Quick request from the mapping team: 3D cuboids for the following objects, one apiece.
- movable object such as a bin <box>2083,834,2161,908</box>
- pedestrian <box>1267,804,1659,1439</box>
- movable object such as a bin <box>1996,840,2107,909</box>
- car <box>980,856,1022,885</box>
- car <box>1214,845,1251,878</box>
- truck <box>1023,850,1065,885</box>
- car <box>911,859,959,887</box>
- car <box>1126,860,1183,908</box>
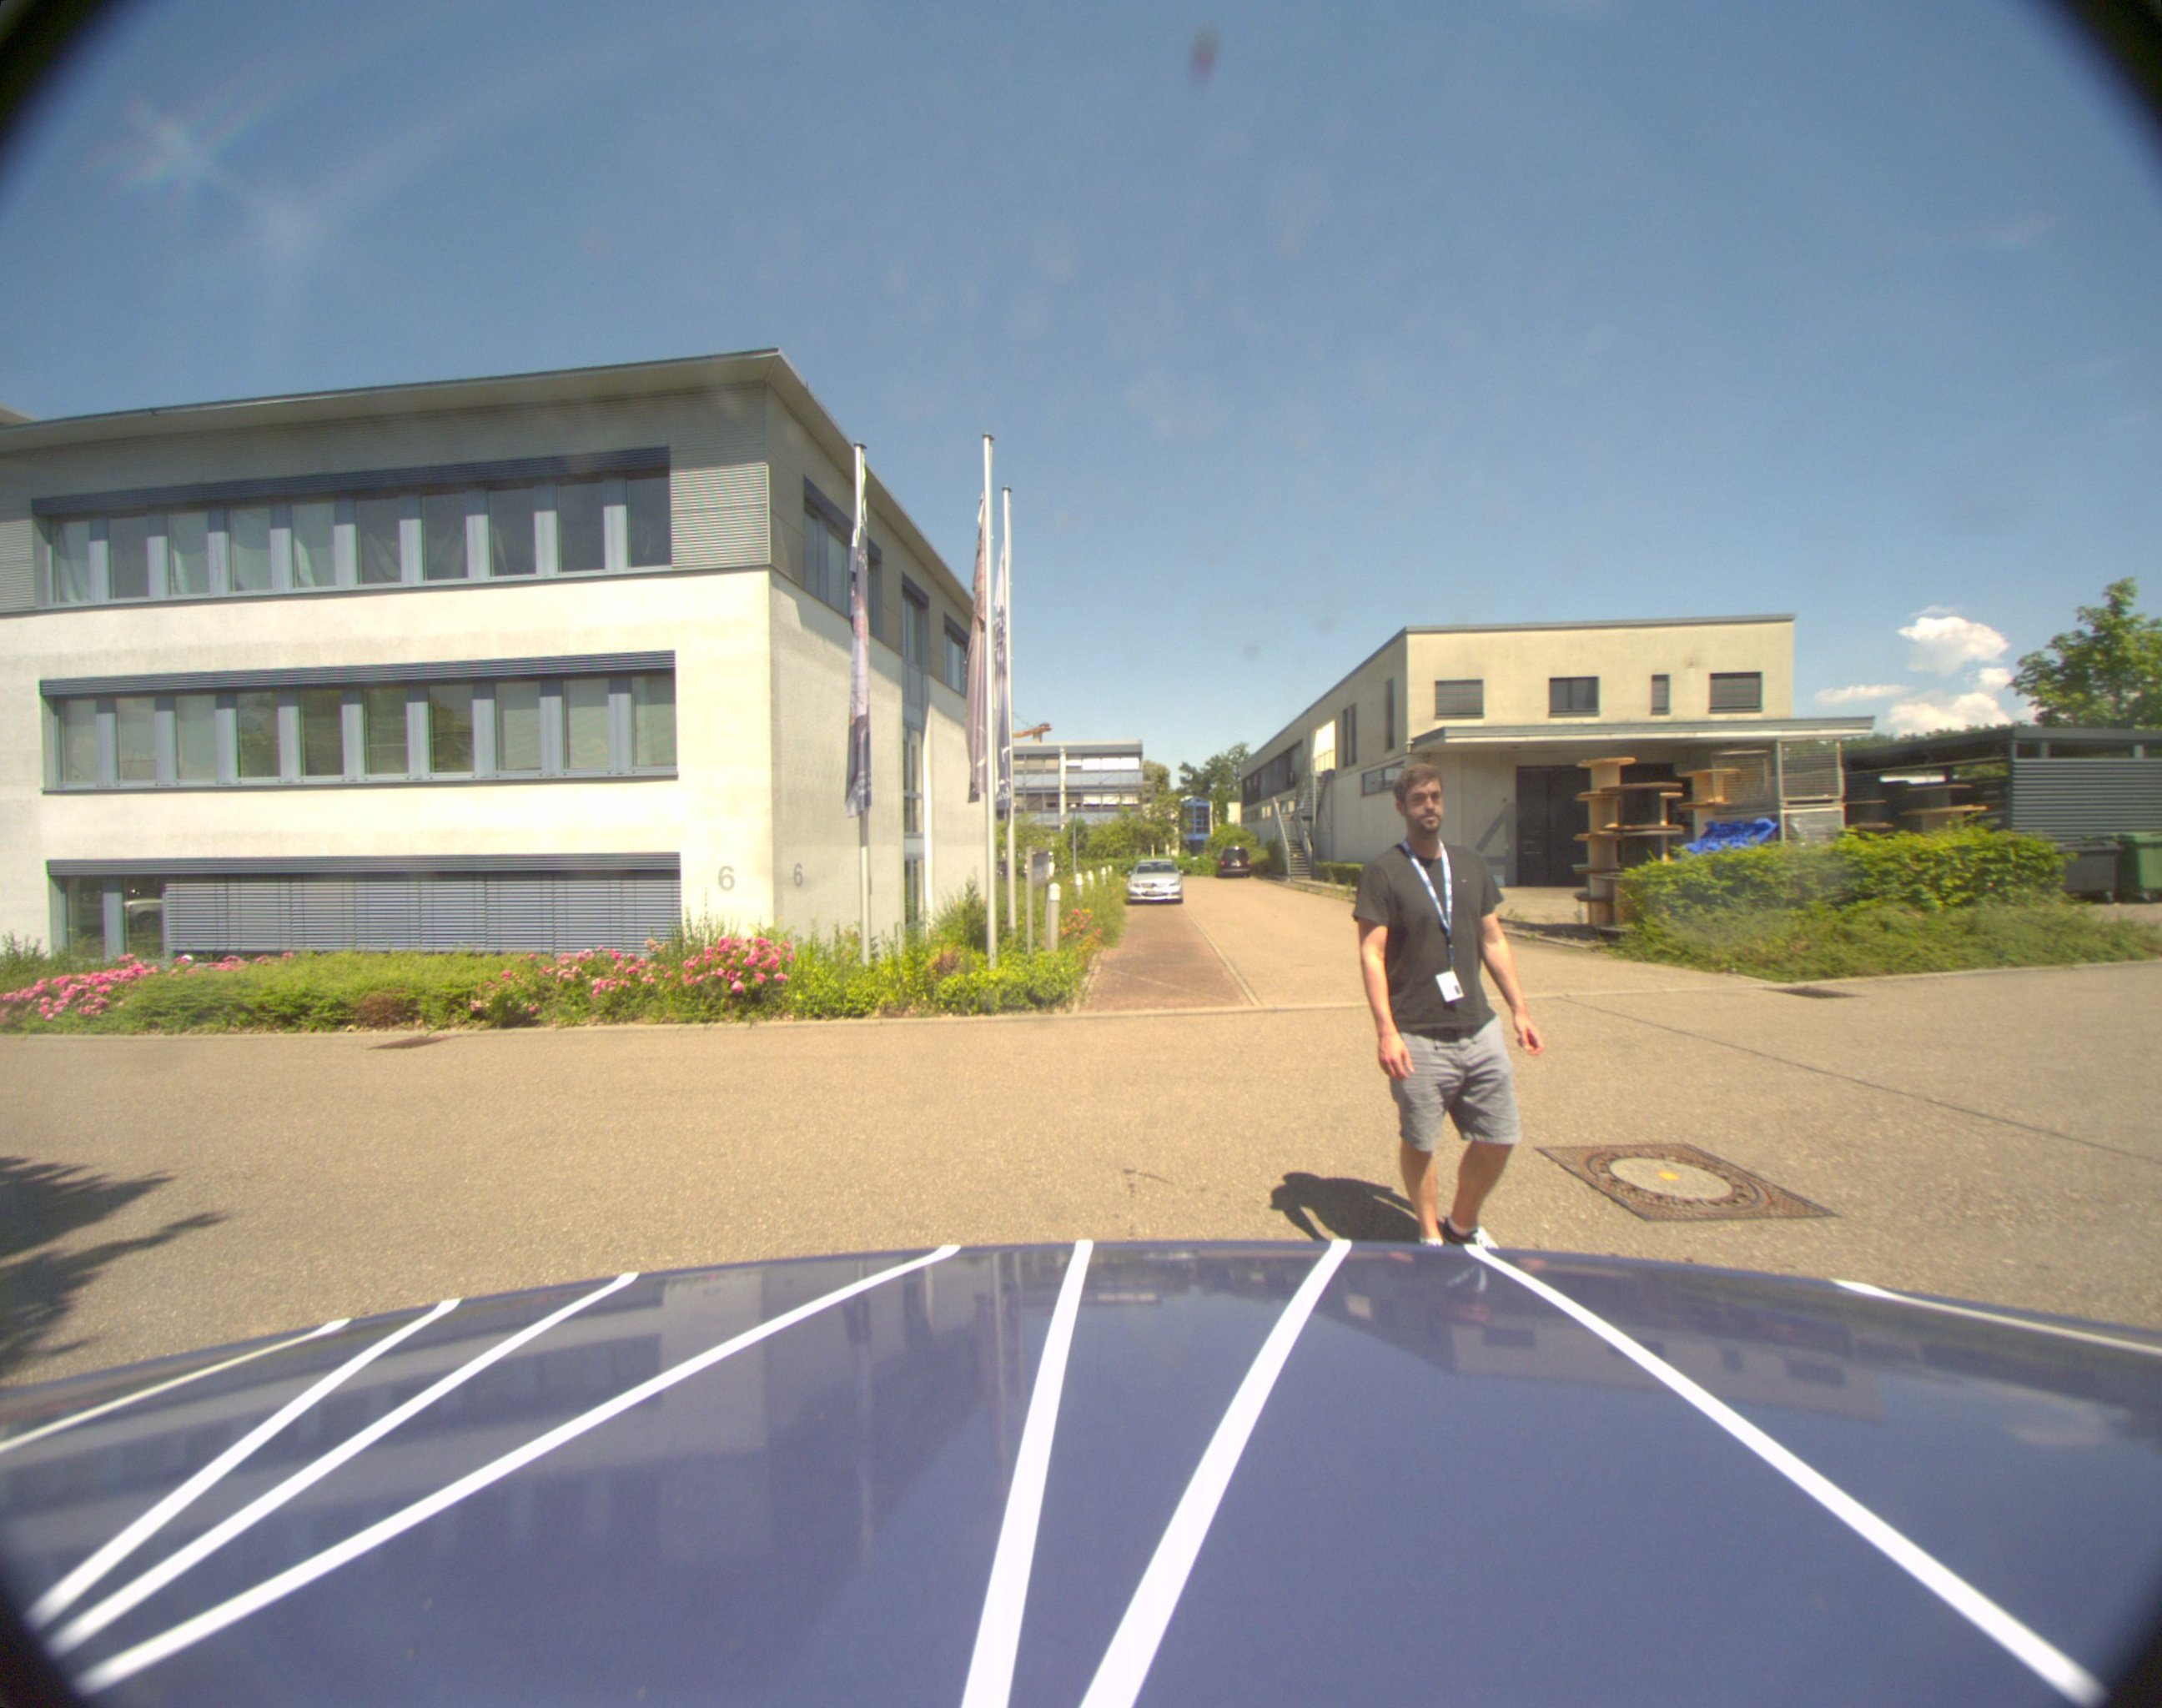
[{"bbox_3d":[19.985,0.307,14.325,1.071,1.329,0.760,-2,1,9],"label":"movable object such as a bin"},{"bbox_3d":[1.215,0.775,2.644,0.860,1.809,0.904,-2,1,0],"label":"pedestrian"},{"bbox_3d":[18.676,0.390,14.645,1.071,1.263,0.760,-2,1,9],"label":"movable object such as a bin"},{"bbox_3d":[-4.815,0.989,46.336,1.787,1.537,4.001,-2,1,5],"label":"car"},{"bbox_3d":[9.031,0.415,45.440,1.786,1.793,4.001,-2,1,7],"label":"car"},{"bbox_3d":[-2.143,0.774,45.444,1.998,1.882,4.001,-2,0,3],"label":"truck"},{"bbox_3d":[-8.923,1.144,46.725,1.787,1.537,4.001,-2,1,5],"label":"car"},{"bbox_3d":[2.519,0.934,25.357,1.710,1.383,3.813,-1,1,8],"label":"car"}]
